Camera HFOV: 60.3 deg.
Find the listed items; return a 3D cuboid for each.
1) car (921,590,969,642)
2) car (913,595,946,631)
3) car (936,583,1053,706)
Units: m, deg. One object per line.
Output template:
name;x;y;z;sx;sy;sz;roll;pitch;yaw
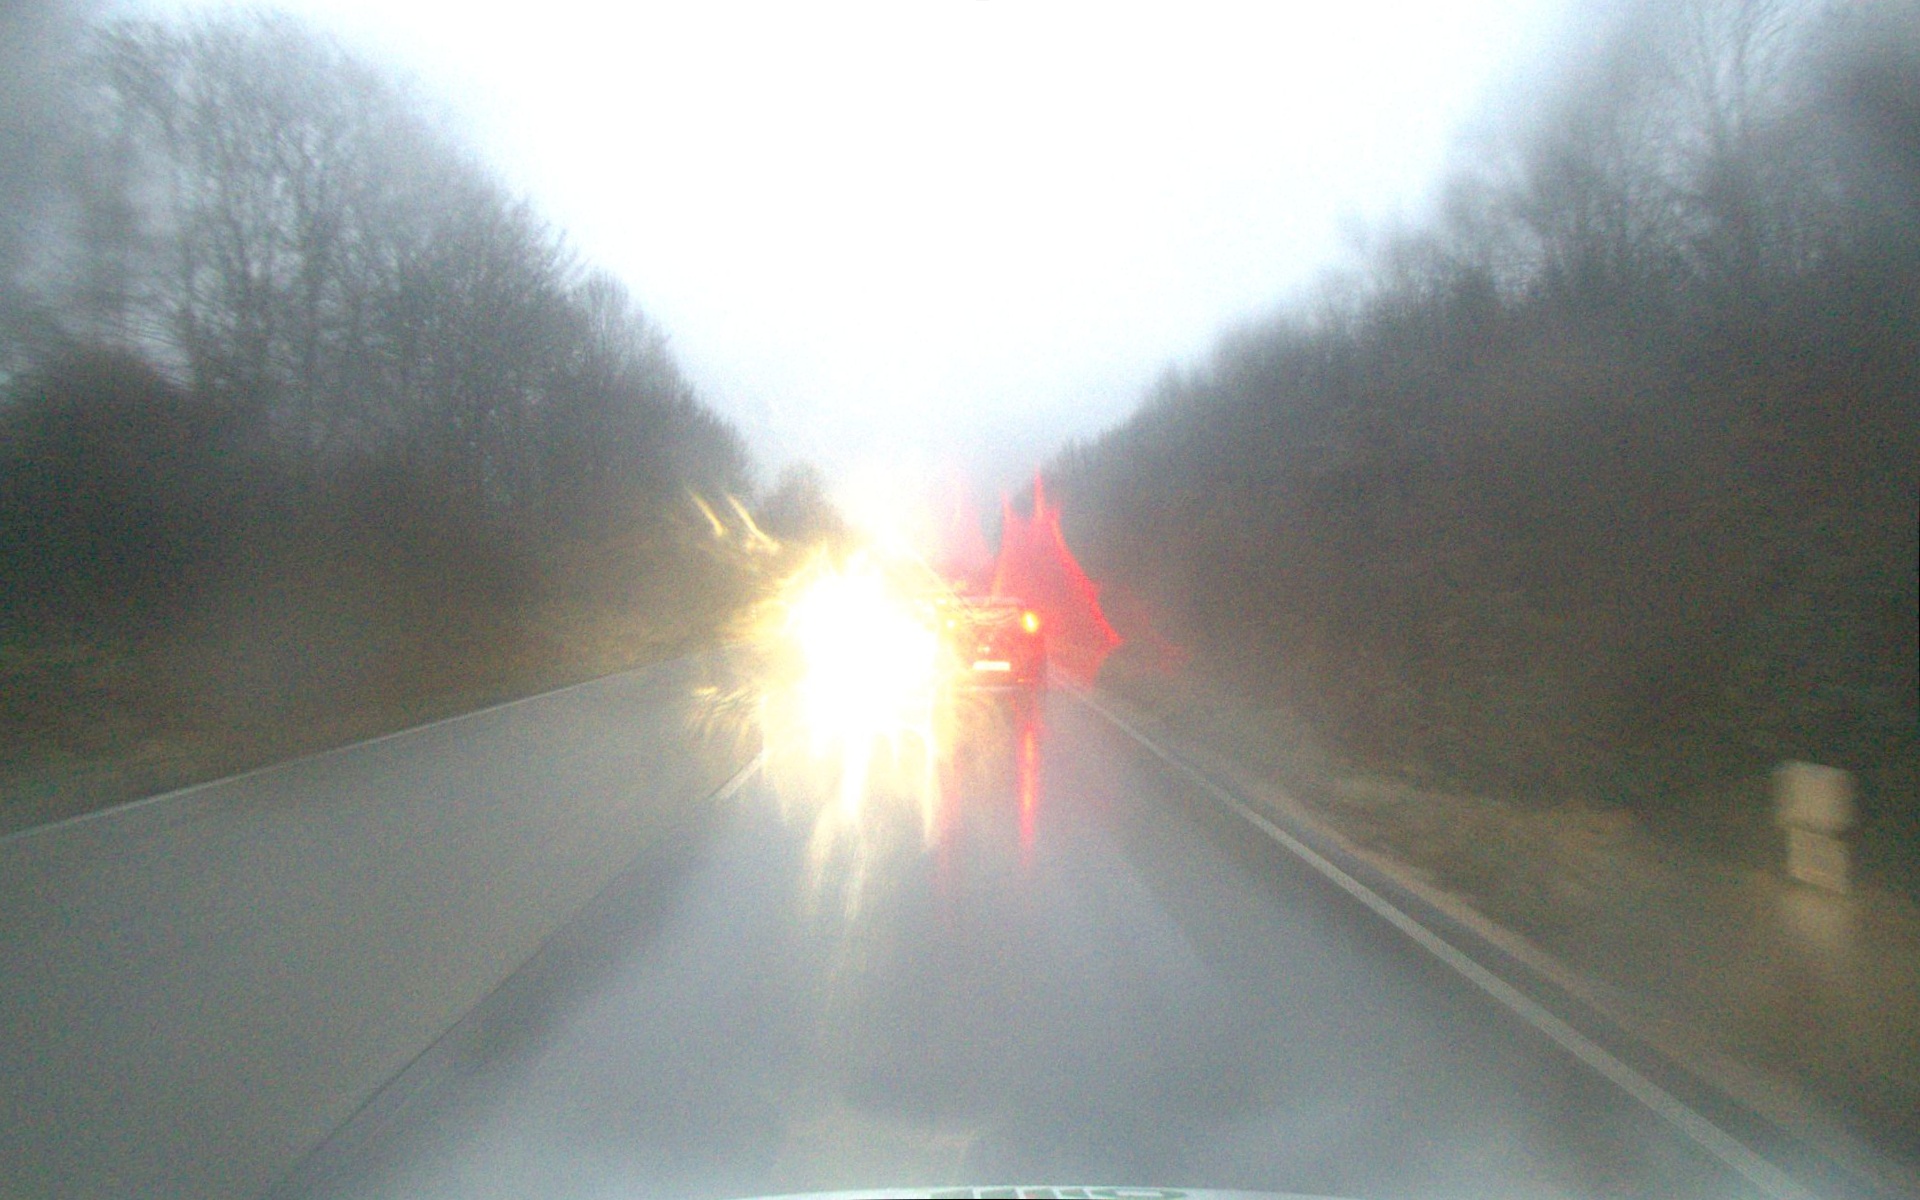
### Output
car;-0.586;0.572;60.787;1.698;1.810;3.999;1;0;-1
car;-1.579;0.675;85.461;1.698;1.810;3.999;1;0;-1
car;0.517;0.624;24.873;1.614;1.701;3.514;1;0;1
